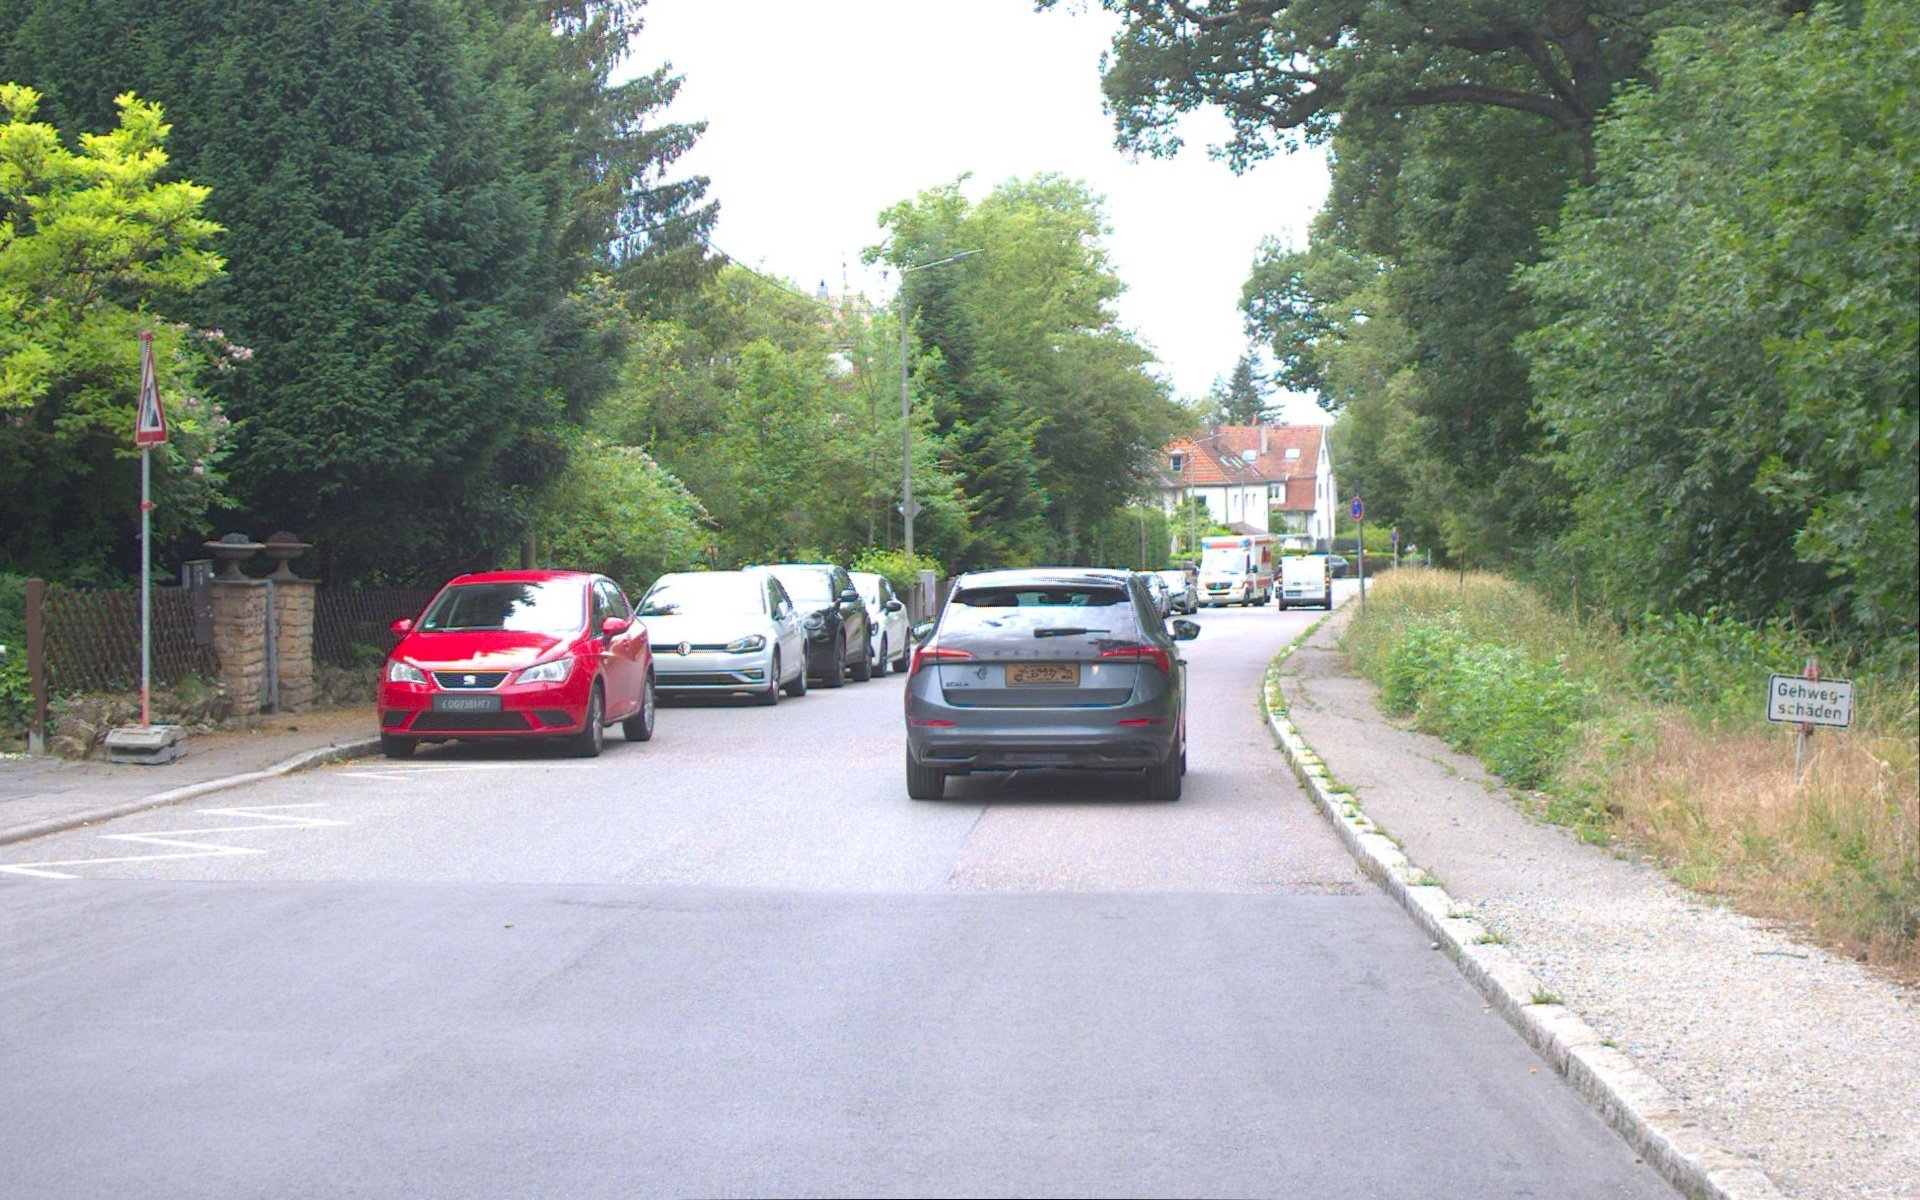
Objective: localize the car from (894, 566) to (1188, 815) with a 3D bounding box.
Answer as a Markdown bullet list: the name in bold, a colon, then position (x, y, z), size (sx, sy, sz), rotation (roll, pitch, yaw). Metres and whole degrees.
- **car**: position (0.539, 0.518, 22.607), size (1.734, 1.442, 4.180), rotation (1, 1, 2)

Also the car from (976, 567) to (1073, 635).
- **car**: position (1.446, 0.003, 75.540), size (1.749, 1.400, 3.999), rotation (1, 1, 7)

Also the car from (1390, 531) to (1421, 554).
- **car**: position (28.010, -3.607, 216.046), size (1.735, 1.442, 3.999), rotation (1, 1, 5)

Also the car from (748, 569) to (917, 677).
- **car**: position (-1.736, 0.286, 47.995), size (1.749, 1.400, 3.999), rotation (1, 1, 7)

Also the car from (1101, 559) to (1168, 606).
- **car**: position (5.372, -0.545, 105.487), size (1.749, 1.400, 3.999), rotation (1, 1, 7)

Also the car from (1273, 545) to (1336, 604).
- **car**: position (12.546, -0.948, 125.167), size (2.206, 2.056, 6.134), rotation (0, 1, 6)

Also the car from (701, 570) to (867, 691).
- **car**: position (-2.164, 0.344, 43.190), size (1.749, 1.400, 4.000), rotation (1, 1, 2)

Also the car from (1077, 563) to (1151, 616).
- **car**: position (4.269, -0.311, 94.958), size (1.749, 1.400, 3.999), rotation (1, 1, 7)

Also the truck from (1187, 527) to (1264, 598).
- **truck**: position (10.841, -1.575, 139.898), size (2.764, 2.784, 9.266), rotation (0, 1, 7)

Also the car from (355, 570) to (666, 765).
- **car**: position (-3.495, 0.479, 27.383), size (1.635, 1.400, 3.999), rotation (1, 1, 5)

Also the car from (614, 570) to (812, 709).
- **car**: position (-2.655, 0.393, 37.725), size (1.749, 1.400, 4.000), rotation (1, 1, 2)
